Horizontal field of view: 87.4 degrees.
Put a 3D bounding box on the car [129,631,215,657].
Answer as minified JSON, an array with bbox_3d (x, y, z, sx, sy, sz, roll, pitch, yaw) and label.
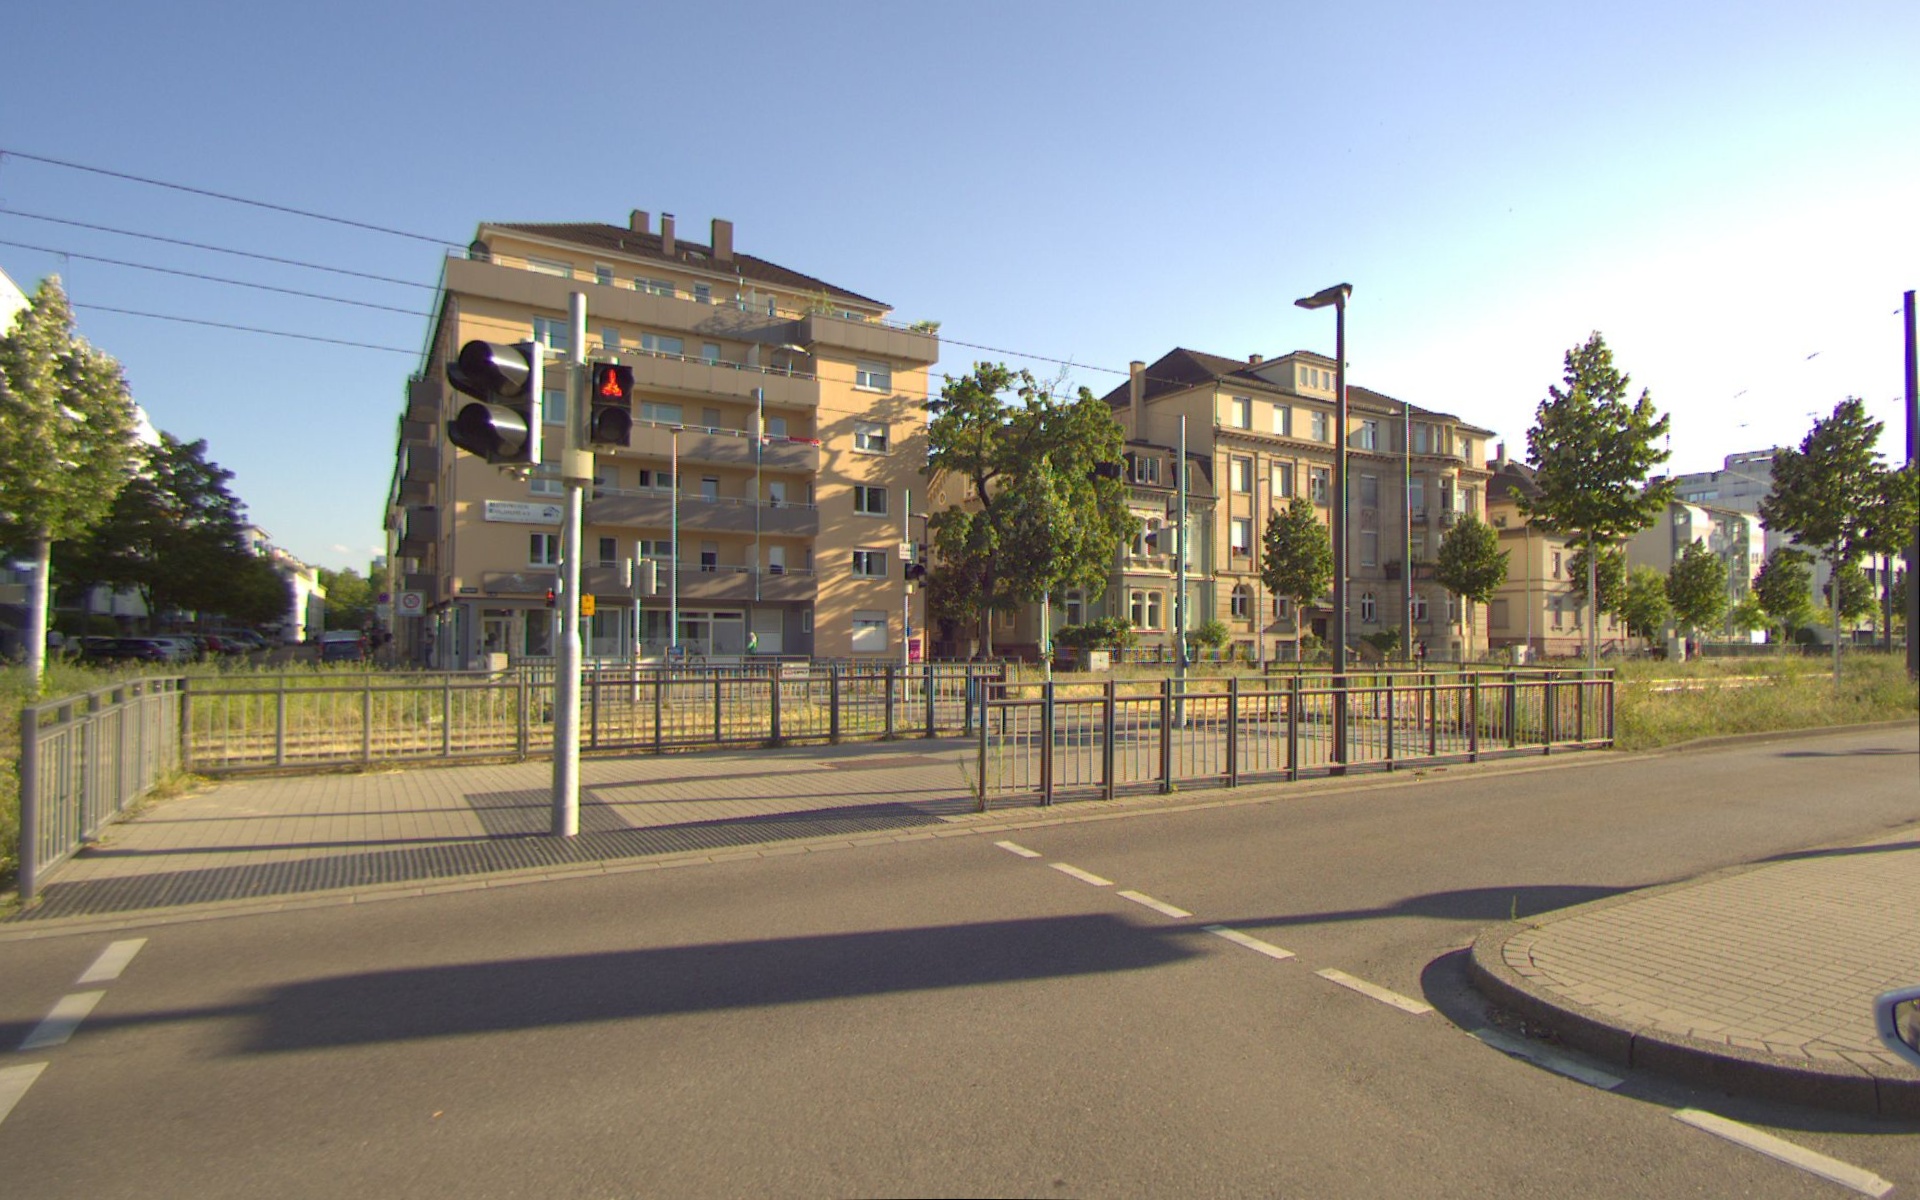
[{"bbox_3d":[-49.213,2.755,62.837,3.953,1.533,1.984,2,-2,-30],"label":"car"}]

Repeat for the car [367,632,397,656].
[{"bbox_3d":[-40.967,3.106,71.172,1.801,1.627,3.855,2,-2,-31],"label":"car"}]

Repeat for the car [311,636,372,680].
[{"bbox_3d":[-23.281,2.146,37.860,1.826,1.516,3.967,2,-2,-31],"label":"car"}]

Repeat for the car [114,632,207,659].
[{"bbox_3d":[-46.606,2.650,58.677,3.953,1.533,1.984,2,-2,-30],"label":"car"}]

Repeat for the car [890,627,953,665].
[{"bbox_3d":[-2.233,2.599,57.136,1.976,2.073,3.970,1,-2,-29],"label":"car"}]

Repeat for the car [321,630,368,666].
[{"bbox_3d":[-31.890,2.475,52.155,1.977,1.766,3.967,2,-2,-31],"label":"car"}]

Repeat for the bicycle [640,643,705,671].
[{"bbox_3d":[-11.990,2.361,41.987,2.557,1.152,0.528,2,-2,-32],"label":"bicycle"}]

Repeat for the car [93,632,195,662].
[{"bbox_3d":[-43.969,2.522,54.221,3.953,1.533,1.984,2,-2,-30],"label":"car"}]

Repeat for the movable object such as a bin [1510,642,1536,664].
[{"bbox_3d":[38.209,3.611,68.179,1.068,1.447,1.199,1,-2,-32],"label":"movable object such as a bin"}]

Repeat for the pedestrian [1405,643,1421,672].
[{"bbox_3d":[27.175,3.444,60.228,0.646,1.743,0.652,2,-2,-32],"label":"pedestrian"}]

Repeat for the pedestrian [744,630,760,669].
[{"bbox_3d":[-8.567,2.025,41.388,0.439,1.576,0.521,0,-2,18],"label":"pedestrian"}]

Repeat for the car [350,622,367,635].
[{"bbox_3d":[-74.611,3.555,124.637,1.801,1.627,3.855,2,-2,-31],"label":"car"}]

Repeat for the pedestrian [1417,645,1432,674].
[{"bbox_3d":[27.555,3.518,59.546,0.646,1.743,0.552,2,-2,-32],"label":"pedestrian"}]

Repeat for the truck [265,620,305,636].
[{"bbox_3d":[-95.128,3.972,141.632,4.572,2.197,1.804,2,-2,-35],"label":"truck"}]

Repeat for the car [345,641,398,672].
[{"bbox_3d":[-26.631,2.525,45.458,1.977,1.321,3.967,2,-2,-31],"label":"car"}]
